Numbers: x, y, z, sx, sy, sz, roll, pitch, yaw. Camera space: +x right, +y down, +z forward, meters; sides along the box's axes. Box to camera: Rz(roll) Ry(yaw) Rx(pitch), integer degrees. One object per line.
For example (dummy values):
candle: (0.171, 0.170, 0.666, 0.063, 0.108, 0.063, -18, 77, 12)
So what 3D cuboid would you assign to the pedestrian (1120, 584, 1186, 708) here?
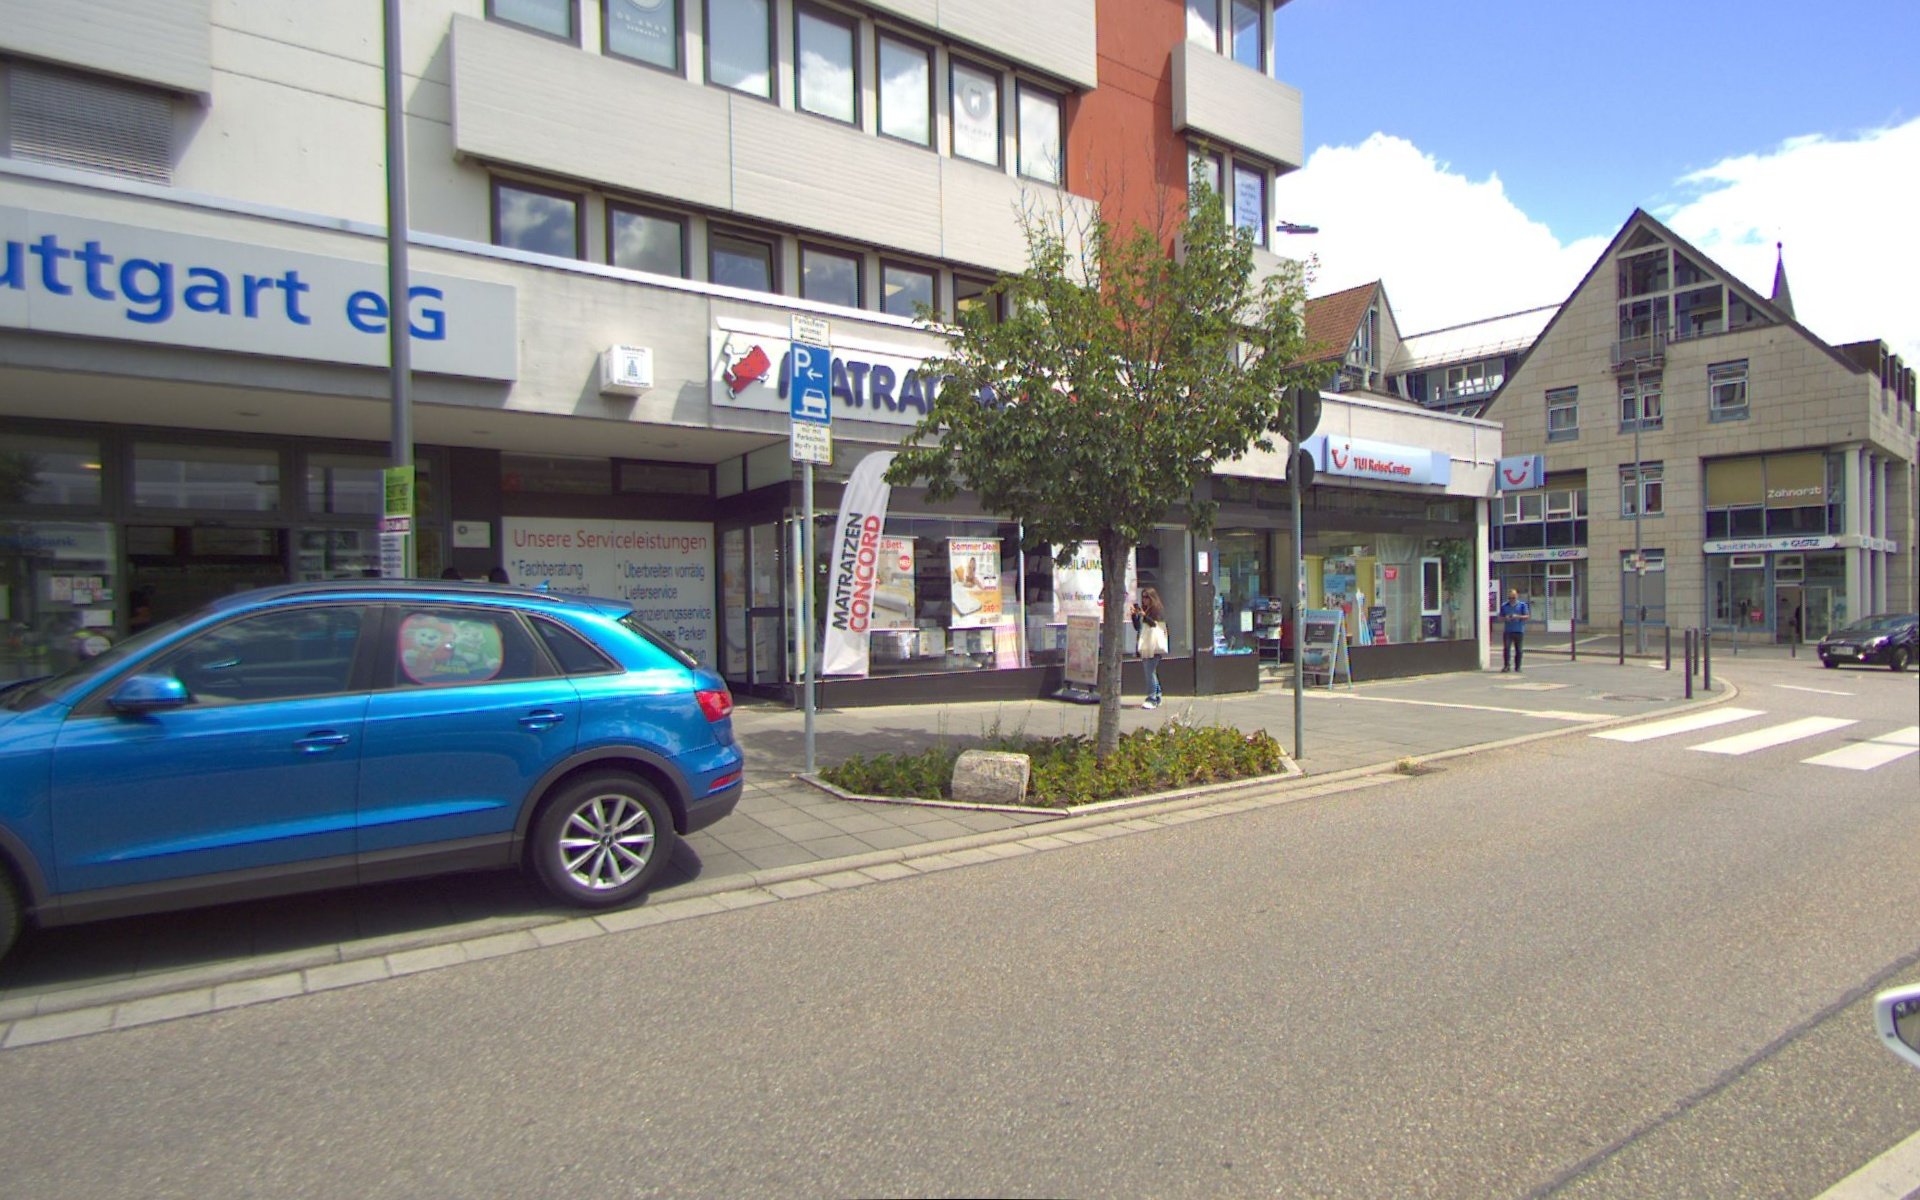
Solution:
pedestrian: (2.588, 0.606, 13.490, 0.631, 1.609, 0.584, 1, 0, -29)

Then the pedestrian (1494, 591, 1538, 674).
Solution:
pedestrian: (11.224, 0.644, 20.279, 0.600, 1.625, 0.563, 0, 1, -33)

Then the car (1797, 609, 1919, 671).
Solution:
car: (23.709, 1.055, 25.520, 4.050, 1.438, 1.699, 3, -1, -15)

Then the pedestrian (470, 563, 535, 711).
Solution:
pedestrian: (-5.065, 0.410, 11.121, 0.580, 1.587, 0.507, 1, -2, -33)

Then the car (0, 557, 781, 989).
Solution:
car: (-3.236, 0.652, 5.016, 4.283, 1.621, 1.685, 1, 2, -32)

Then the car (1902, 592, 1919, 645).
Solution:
car: (51.359, 1.072, 50.013, 6.202, 2.593, 2.199, 2, -2, 36)

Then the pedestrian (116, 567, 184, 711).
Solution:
pedestrian: (-10.076, 0.477, 12.491, 0.582, 1.727, 0.637, -2, 0, -43)

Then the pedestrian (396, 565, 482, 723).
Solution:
pedestrian: (-5.395, 0.453, 10.422, 0.633, 1.587, 0.585, 0, -2, -11)
